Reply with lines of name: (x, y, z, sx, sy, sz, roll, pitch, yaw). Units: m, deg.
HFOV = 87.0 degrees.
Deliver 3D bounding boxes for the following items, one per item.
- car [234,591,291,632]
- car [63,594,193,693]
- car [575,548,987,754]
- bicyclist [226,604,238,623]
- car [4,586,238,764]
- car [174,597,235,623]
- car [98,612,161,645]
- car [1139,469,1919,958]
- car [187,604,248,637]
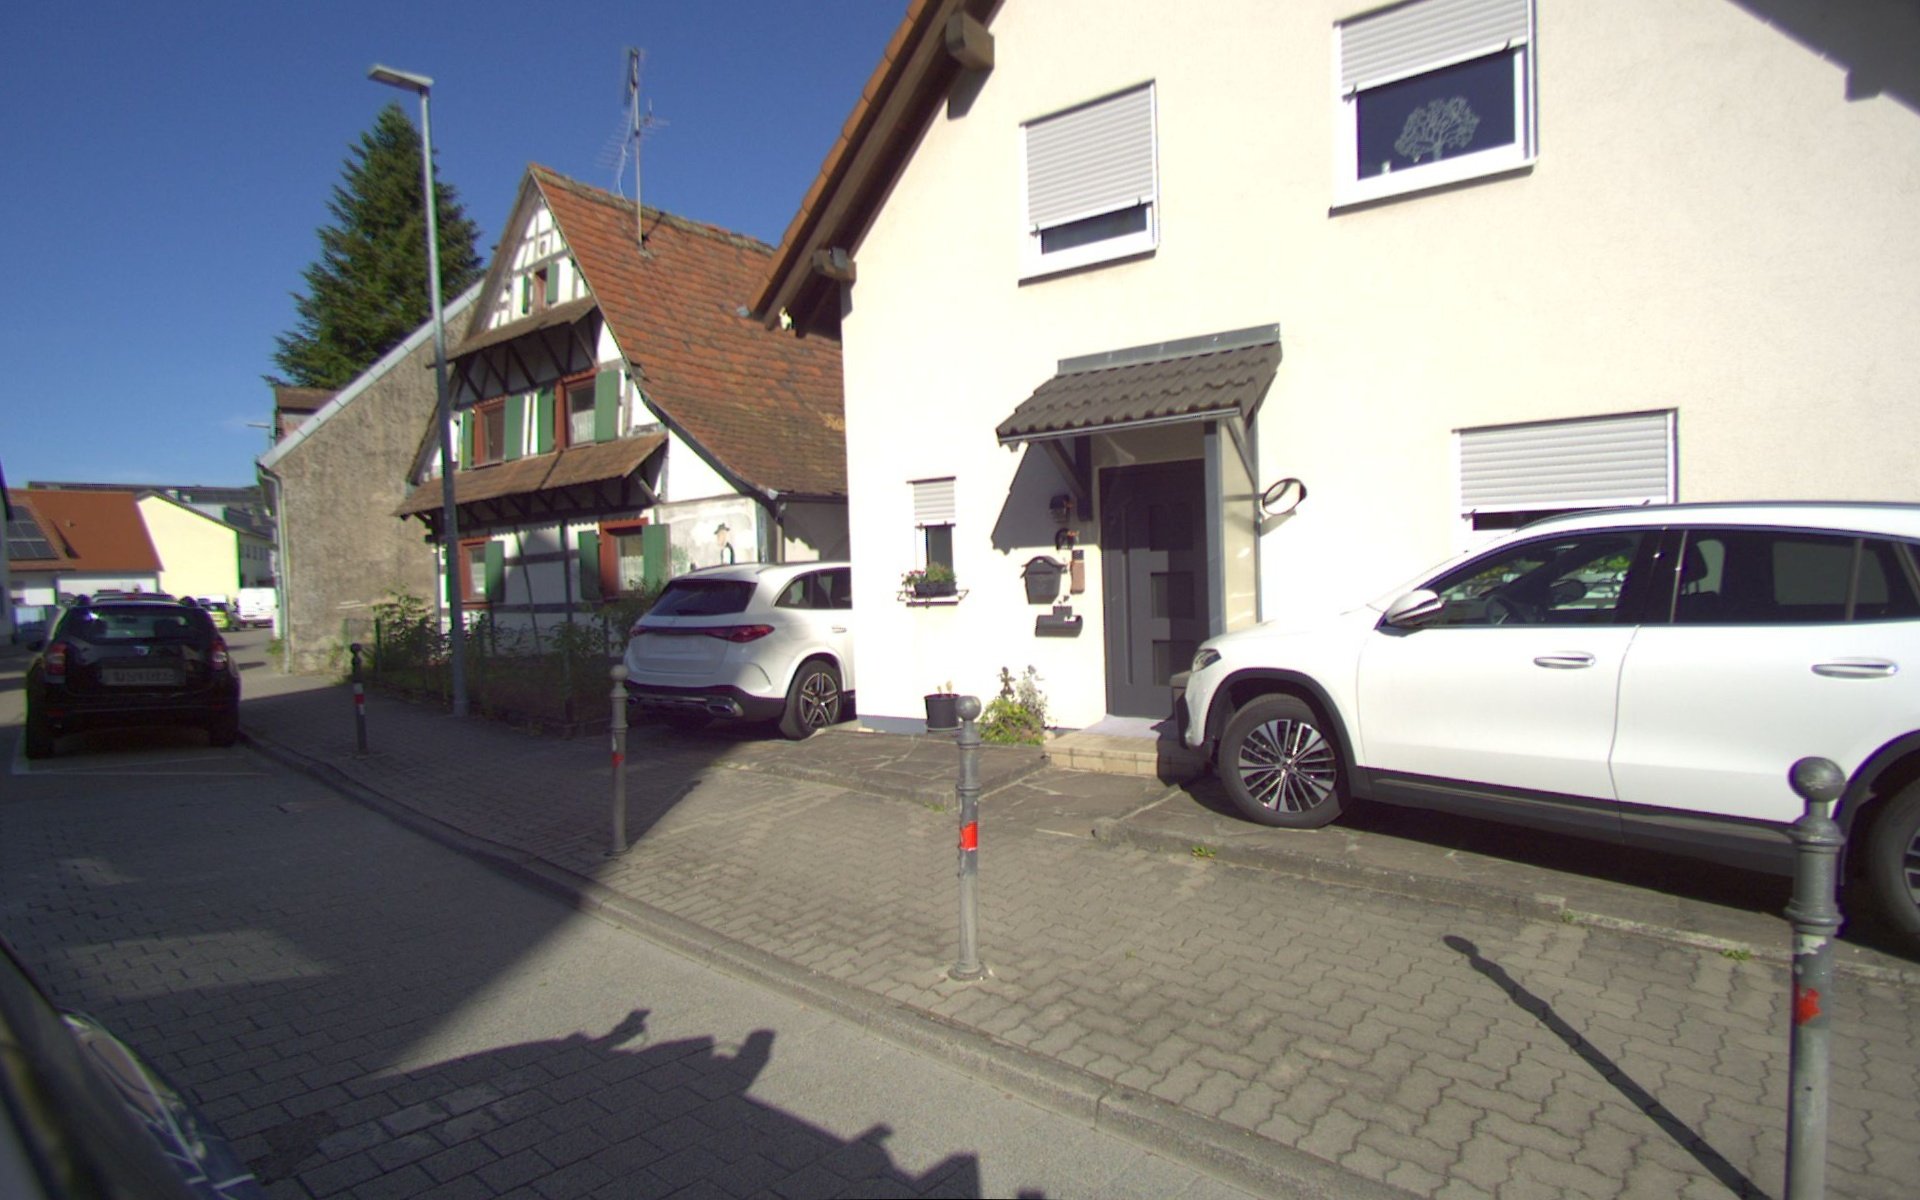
car: (-40.977, 0.655, 59.550, 2.026, 2.263, 4.875, -1, 0, -27)
car: (-16.839, 0.834, 20.660, 1.808, 1.803, 4.362, 1, -1, -37)
car: (-1.619, 0.363, 10.485, 1.994, 1.600, 3.957, -2, 3, 33)
bicyclist: (-52.892, 0.961, 73.540, 0.573, 1.330, 0.610, -1, 0, -21)
car: (-9.876, 0.745, 11.824, 1.810, 1.683, 4.357, 1, -1, -43)
car: (-63.899, 0.823, 85.681, 3.933, 2.029, 1.847, -2, 0, -33)
car: (-40.812, 1.379, 49.827, 1.778, 1.488, 4.357, 0, 0, -31)
car: (3.158, 0.326, 4.709, 1.794, 1.607, 4.454, -4, 3, -39)
car: (-38.741, 1.054, 52.890, 1.862, 1.602, 4.013, -1, 0, -26)
